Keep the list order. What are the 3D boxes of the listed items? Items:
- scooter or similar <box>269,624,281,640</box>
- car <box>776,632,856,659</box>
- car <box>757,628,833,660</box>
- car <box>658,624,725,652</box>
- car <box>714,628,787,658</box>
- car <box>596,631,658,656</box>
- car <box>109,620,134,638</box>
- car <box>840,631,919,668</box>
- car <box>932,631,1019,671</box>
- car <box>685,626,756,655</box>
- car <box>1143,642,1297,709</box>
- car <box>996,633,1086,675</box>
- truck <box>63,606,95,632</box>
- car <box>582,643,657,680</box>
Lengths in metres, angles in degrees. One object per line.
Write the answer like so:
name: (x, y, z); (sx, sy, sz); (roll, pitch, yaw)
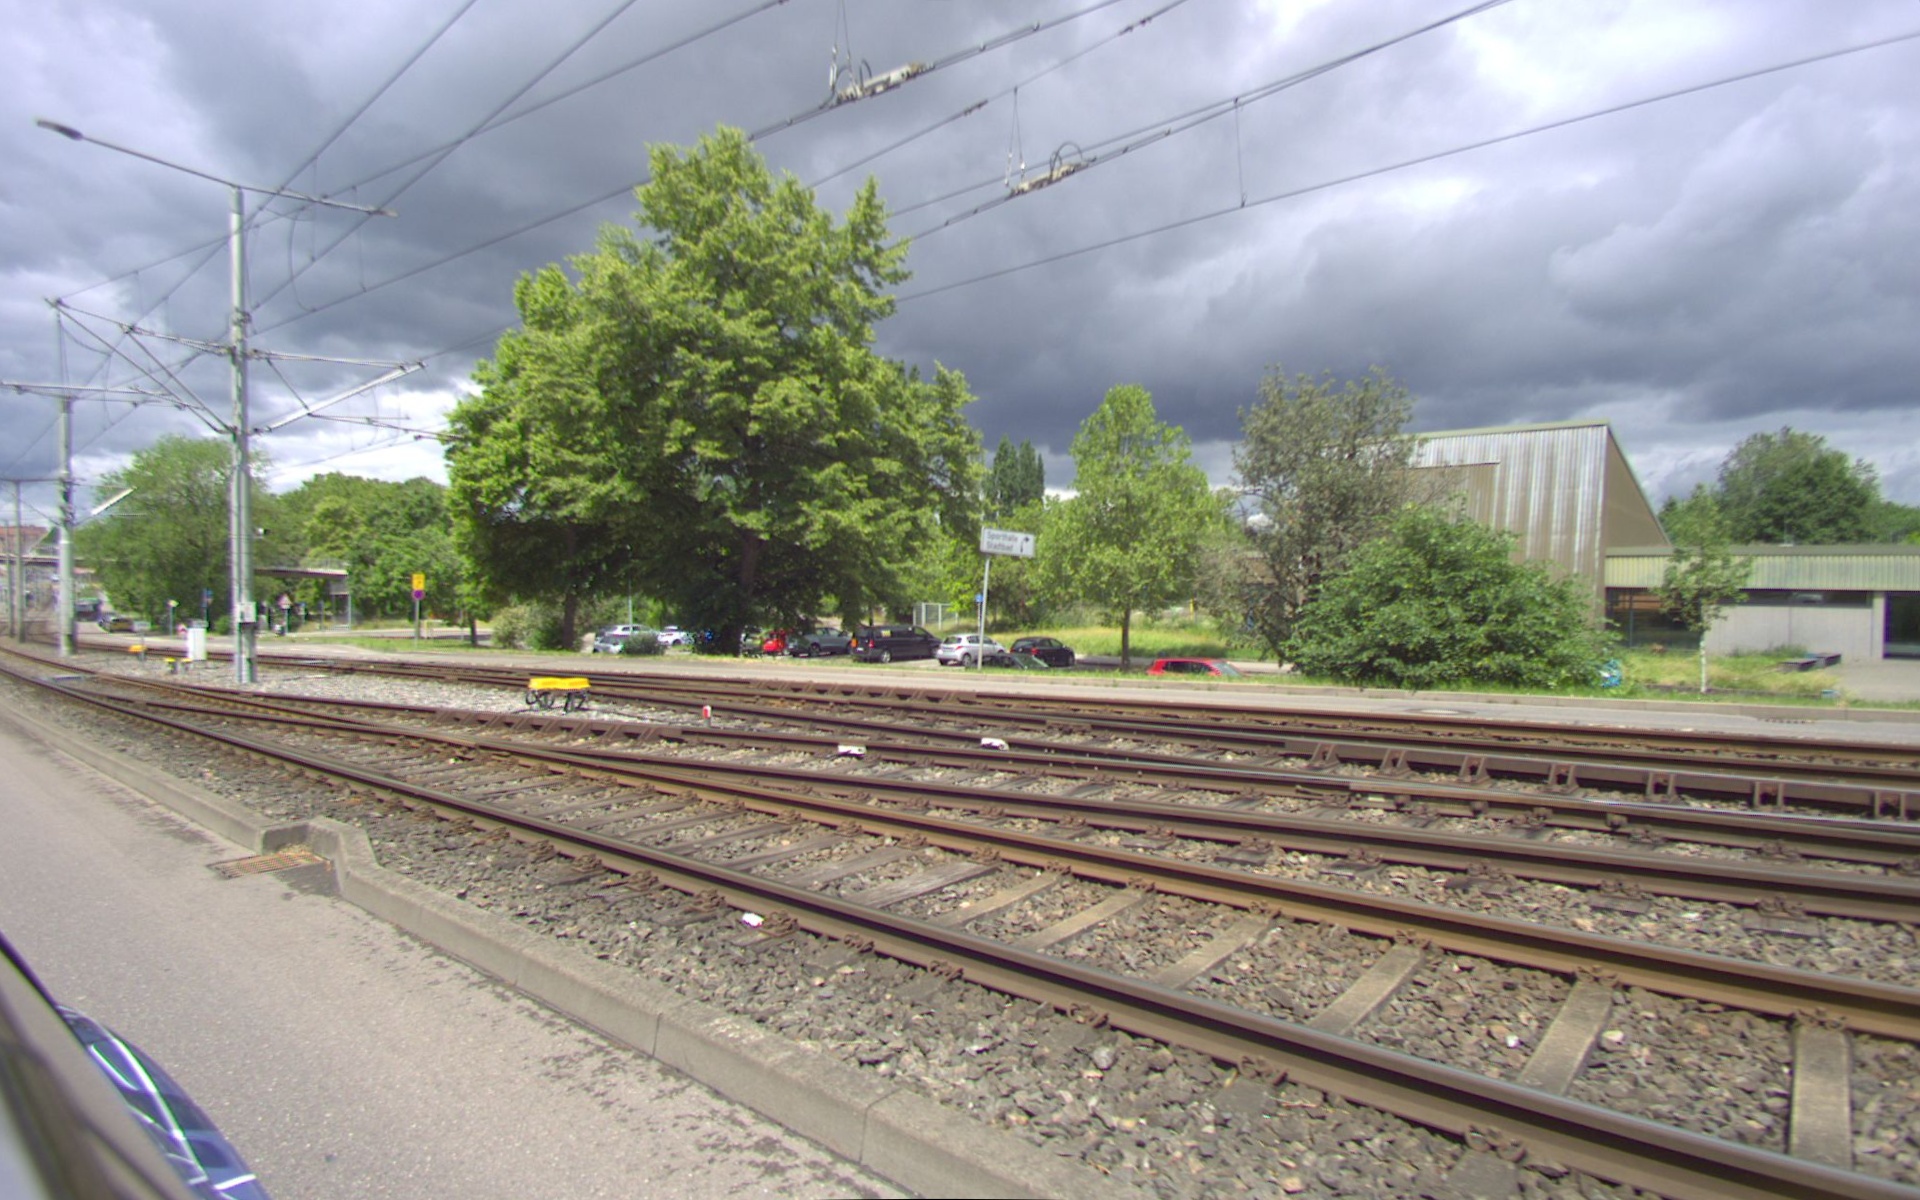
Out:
scooter or similar: (-55.067, 2.565, 81.397); (0.702, 1.156, 0.789); (-2, 2, -40)
car: (-8.152, 2.553, 57.351); (4.032, 1.261, 1.999); (-3, 0, -41)
car: (-9.613, 2.524, 59.120); (3.906, 1.592, 1.999); (-3, 0, -41)
car: (-17.870, 2.523, 67.350); (3.863, 1.592, 1.847); (-3, 0, -33)
car: (-12.891, 2.613, 62.285); (3.906, 1.592, 1.996); (-3, 0, -41)
car: (-23.700, 3.078, 72.064); (3.821, 1.401, 1.576); (-3, 3, -40)
car: (-82.312, 2.815, 99.336); (1.668, 1.461, 3.904); (-3, 3, -41)
car: (-4.118, 2.511, 52.091); (3.550, 1.649, 1.955); (-2, 1, -39)
car: (0.792, 2.469, 49.678); (3.936, 1.611, 1.862); (-2, 1, -39)
car: (-15.199, 2.562, 64.236); (3.906, 1.592, 1.872); (-3, 0, -41)
car: (7.606, 2.156, 29.834); (3.998, 1.785, 1.797); (-2, -2, 41)
car: (3.751, 2.452, 46.668); (3.937, 1.611, 1.862); (-3, 1, -40)
truck: (-124.075, 2.650, 142.489); (2.838, 3.344, 9.037); (-3, 3, -44)
car: (-17.929, 3.199, 53.264); (4.068, 1.768, 1.968); (-3, 0, 42)
